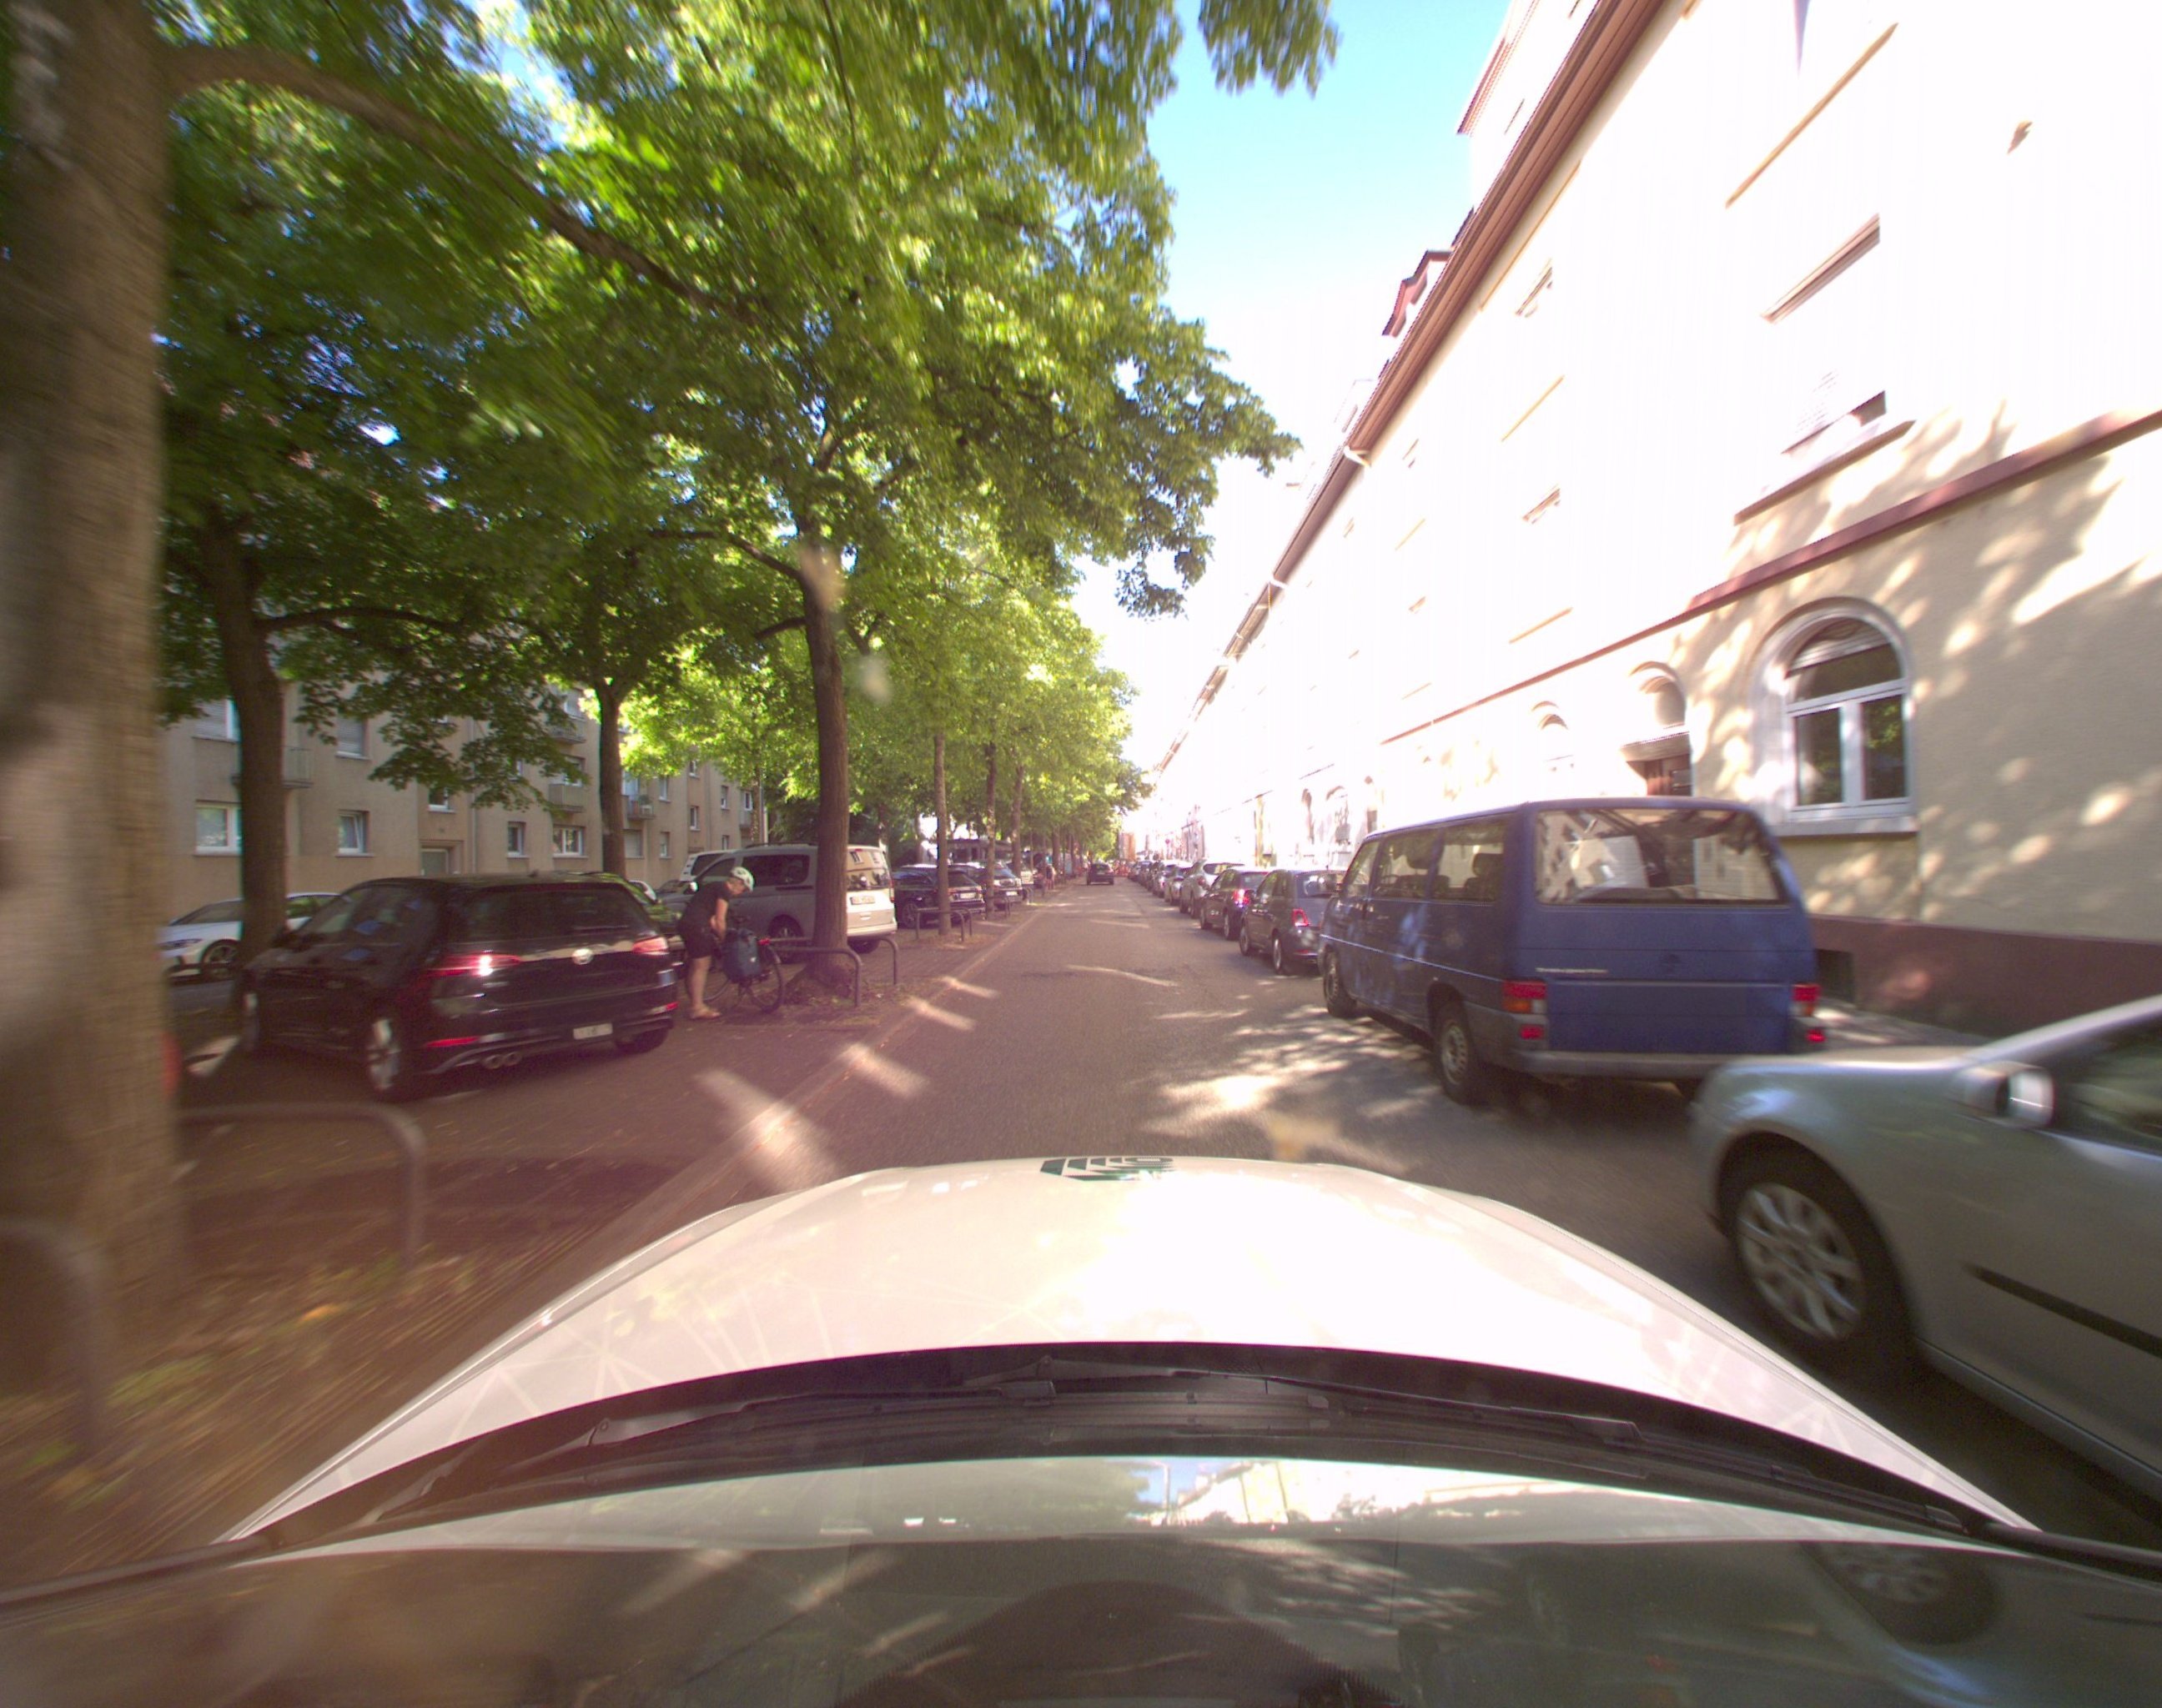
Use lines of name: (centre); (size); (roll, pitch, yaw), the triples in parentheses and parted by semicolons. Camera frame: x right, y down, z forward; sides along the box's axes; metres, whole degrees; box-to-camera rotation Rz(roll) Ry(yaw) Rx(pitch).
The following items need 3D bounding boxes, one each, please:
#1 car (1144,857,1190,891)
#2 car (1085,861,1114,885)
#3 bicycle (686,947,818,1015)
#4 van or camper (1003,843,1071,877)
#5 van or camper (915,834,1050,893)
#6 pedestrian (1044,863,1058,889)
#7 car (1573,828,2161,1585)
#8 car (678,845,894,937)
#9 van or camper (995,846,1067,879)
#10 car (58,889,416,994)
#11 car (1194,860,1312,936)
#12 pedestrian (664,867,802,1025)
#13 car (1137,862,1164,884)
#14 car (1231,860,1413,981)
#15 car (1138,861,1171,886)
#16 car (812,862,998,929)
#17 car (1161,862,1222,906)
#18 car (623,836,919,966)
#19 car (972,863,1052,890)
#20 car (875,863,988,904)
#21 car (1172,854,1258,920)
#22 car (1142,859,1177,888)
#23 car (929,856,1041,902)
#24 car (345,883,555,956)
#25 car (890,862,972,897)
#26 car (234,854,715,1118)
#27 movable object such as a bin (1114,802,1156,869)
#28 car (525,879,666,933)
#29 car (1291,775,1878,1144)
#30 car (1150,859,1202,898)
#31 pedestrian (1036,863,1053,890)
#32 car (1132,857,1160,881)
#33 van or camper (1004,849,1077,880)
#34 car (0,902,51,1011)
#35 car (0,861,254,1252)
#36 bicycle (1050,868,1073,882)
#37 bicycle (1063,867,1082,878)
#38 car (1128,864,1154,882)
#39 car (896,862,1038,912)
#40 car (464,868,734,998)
car: (4.268, 0.962, 40.854); (1.718, 1.597, 4.155); (-2, 0, -2)
car: (1.221, 1.230, 54.024); (1.791, 1.503, 3.585); (-2, 0, 0)
bicycle: (-3.446, 1.300, 8.477); (1.593, 0.558, 0.412); (-2, 0, 32)
van or camper: (-4.574, 0.605, 83.882); (6.592, 3.241, 2.511); (-2, 0, 30)
van or camper: (-5.425, 0.546, 44.424); (7.157, 2.929, 2.328); (-2, 0, 28)
pedestrian: (-1.686, 1.239, 45.985); (0.609, 1.456, 0.522); (-2, -1, 24)
car: (2.997, 0.675, 1.405); (1.756, 1.500, 4.238); (-2, 0, 1)
car: (-6.589, 0.820, 18.087); (4.547, 1.832, 2.031); (-3, -1, 30)
van or camper: (-4.370, 0.779, 70.765); (5.811, 2.637, 2.269); (-2, 0, 31)
car: (-14.999, 1.454, 14.963); (1.722, 1.393, 4.616); (-3, 0, 0)
car: (3.551, 0.852, 17.471); (1.545, 1.394, 3.857); (-2, 0, -2)
pedestrian: (-3.357, 0.841, 7.888); (0.743, 1.397, 0.935); (-2, -1, 33)
car: (4.731, 1.260, 55.786); (1.611, 1.413, 3.789); (-2, 0, 2)
car: (3.442, 0.866, 12.305); (1.617, 1.498, 3.594); (-2, 0, -1)
car: (4.533, 1.178, 50.789); (1.625, 1.413, 4.088); (-2, 0, 0)
car: (-4.360, 0.990, 19.932); (4.431, 1.455, 1.799); (-2, -1, 33)
car: (3.989, 1.044, 29.985); (1.716, 1.432, 4.159); (-2, 0, 1)
car: (-5.175, 0.718, 13.571); (4.467, 1.865, 2.093); (-1, -1, 26)
car: (-3.983, 1.318, 46.897); (4.274, 1.424, 1.685); (-2, 0, 28)
car: (-5.615, 1.042, 30.379); (3.990, 1.403, 1.835); (0, 0, 34)
car: (3.767, 0.885, 23.539); (1.717, 1.686, 4.156); (-2, 0, -1)
car: (4.406, 1.057, 46.091); (1.625, 1.534, 3.592); (-2, 0, 0)
car: (-3.797, 0.989, 32.149); (4.094, 1.679, 1.770); (-2, 0, 30)
car: (-15.146, 1.506, 19.880); (1.885, 1.387, 4.001); (-3, 0, 1)
car: (-7.040, 1.216, 38.115); (3.498, 1.507, 1.769); (-2, 0, 35)
car: (-4.952, 0.799, 6.503); (4.055, 1.506, 1.744); (-1, -1, 33)
movable object such as a bin: (5.624, -1.864, 84.516); (3.445, 6.760, 2.383); (-2, -1, 34)
car: (-14.930, 1.564, 25.337); (1.885, 1.387, 4.001); (-2, 0, 1)
car: (3.293, 0.571, 6.749); (1.941, 1.900, 4.847); (-2, 0, 2)
car: (4.081, 1.022, 35.577); (1.717, 1.528, 4.156); (-2, 0, -1)
pedestrian: (-2.017, 1.257, 45.464); (0.703, 1.456, 0.600); (-2, -1, 24)
car: (4.842, 1.118, 61.198); (1.810, 1.674, 4.675); (-2, 0, 2)
van or camper: (-3.318, 0.874, 66.496); (5.447, 2.275, 2.233); (-2, 0, 25)
car: (-15.054, 1.377, 8.962); (1.613, 1.406, 4.535); (-2, 0, 0)
car: (-5.984, 0.833, 4.037); (3.948, 1.503, 1.860); (-2, -1, 33)
bicycle: (-1.521, 1.594, 62.777); (1.730, 1.006, 0.507); (-2, -1, -29)
bicycle: (-0.837, 1.823, 81.087); (1.879, 1.006, 0.433); (-2, -1, 25)
car: (5.162, 1.612, 70.791); (1.987, 1.409, 4.500); (-1, 0, 0)
car: (-3.631, 1.027, 25.616); (4.366, 1.462, 1.727); (-2, -1, 34)
car: (-6.435, 0.921, 10.755); (3.752, 1.406, 1.634); (-2, -1, 35)
